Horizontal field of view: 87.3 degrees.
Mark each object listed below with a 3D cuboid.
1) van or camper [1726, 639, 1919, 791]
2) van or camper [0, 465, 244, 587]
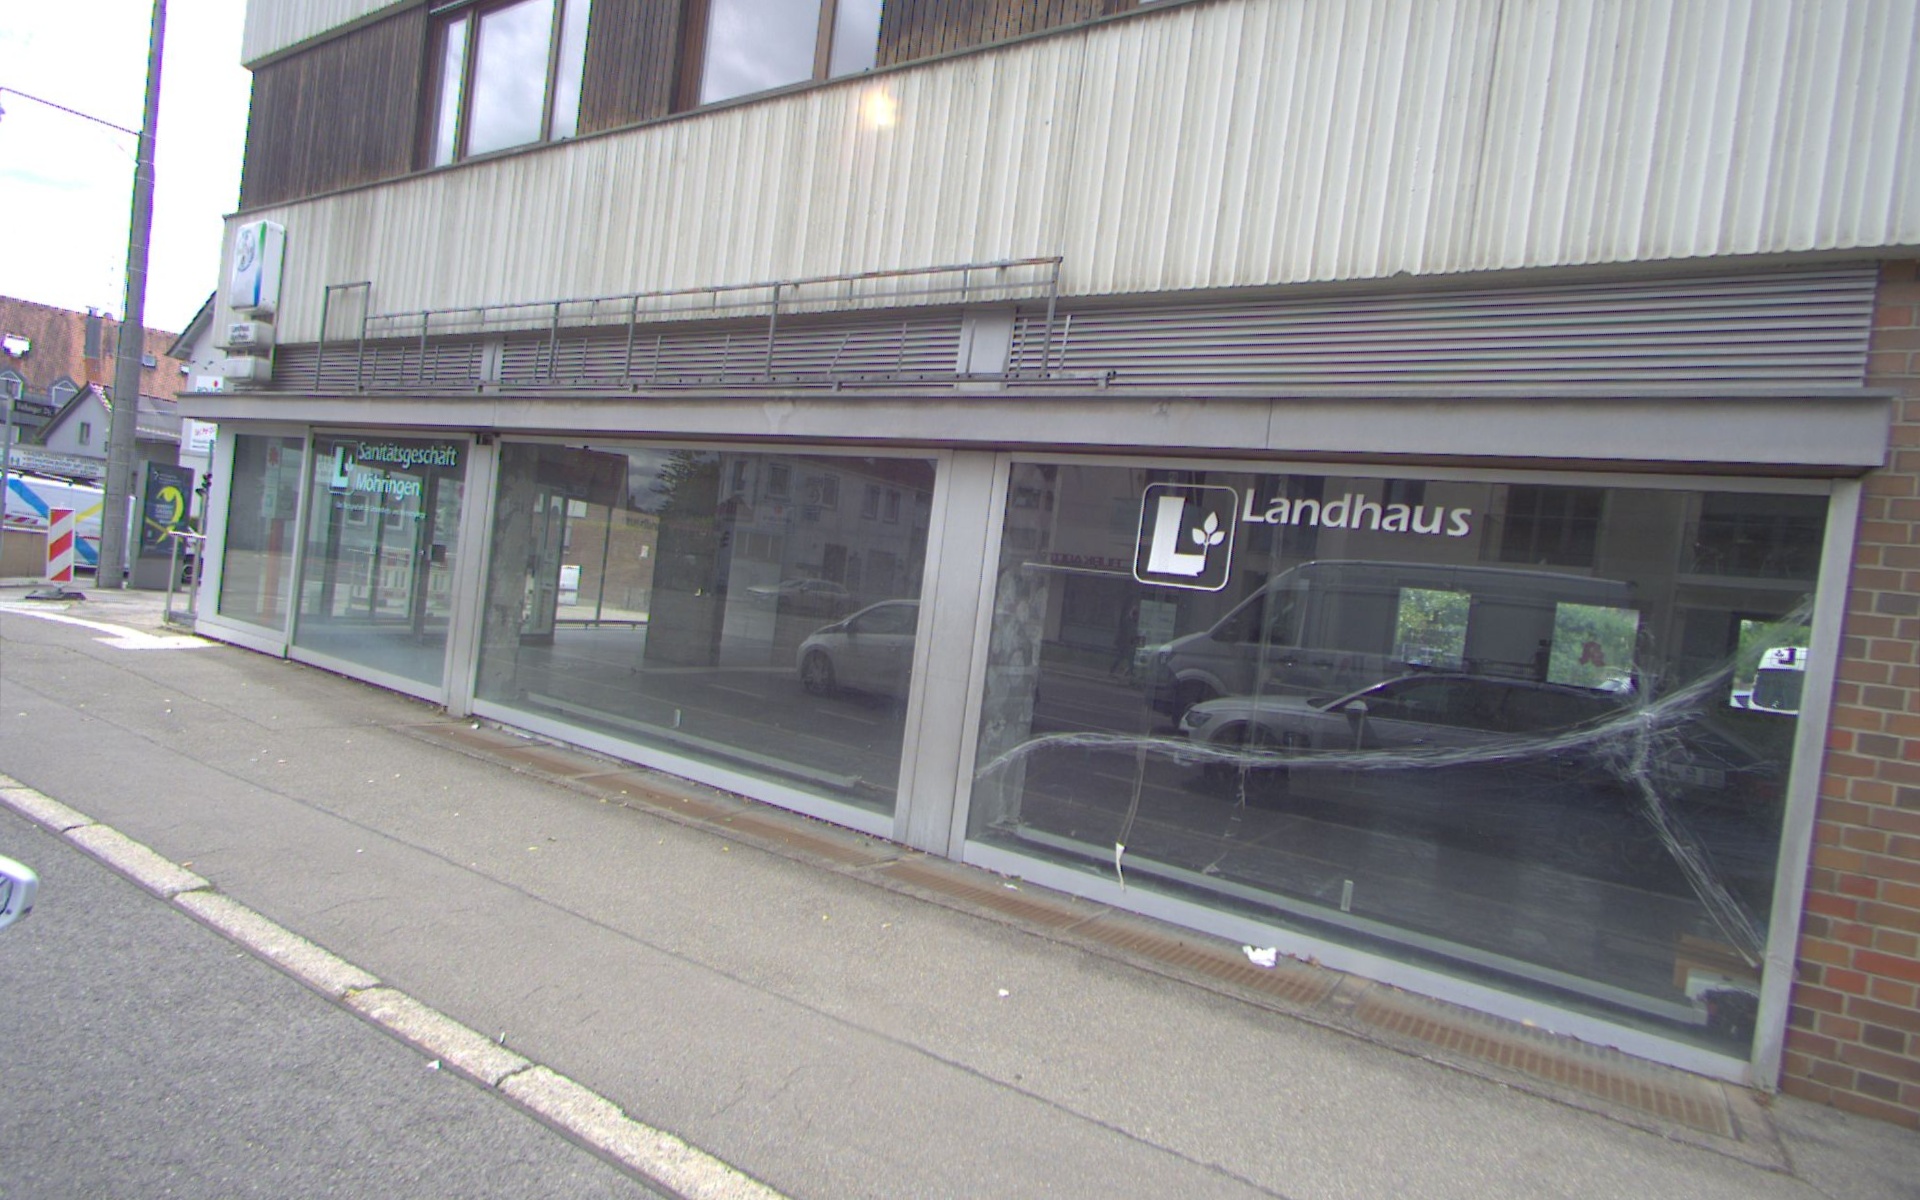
[{"bbox_3d":[18.971,2.420,20.066,5.409,2.574,2.058,7,1,4],"label":"van or camper"},{"bbox_3d":[-20.480,-1.714,23.972,1.963,2.100,5.137,7,-2,22],"label":"van or camper"}]
